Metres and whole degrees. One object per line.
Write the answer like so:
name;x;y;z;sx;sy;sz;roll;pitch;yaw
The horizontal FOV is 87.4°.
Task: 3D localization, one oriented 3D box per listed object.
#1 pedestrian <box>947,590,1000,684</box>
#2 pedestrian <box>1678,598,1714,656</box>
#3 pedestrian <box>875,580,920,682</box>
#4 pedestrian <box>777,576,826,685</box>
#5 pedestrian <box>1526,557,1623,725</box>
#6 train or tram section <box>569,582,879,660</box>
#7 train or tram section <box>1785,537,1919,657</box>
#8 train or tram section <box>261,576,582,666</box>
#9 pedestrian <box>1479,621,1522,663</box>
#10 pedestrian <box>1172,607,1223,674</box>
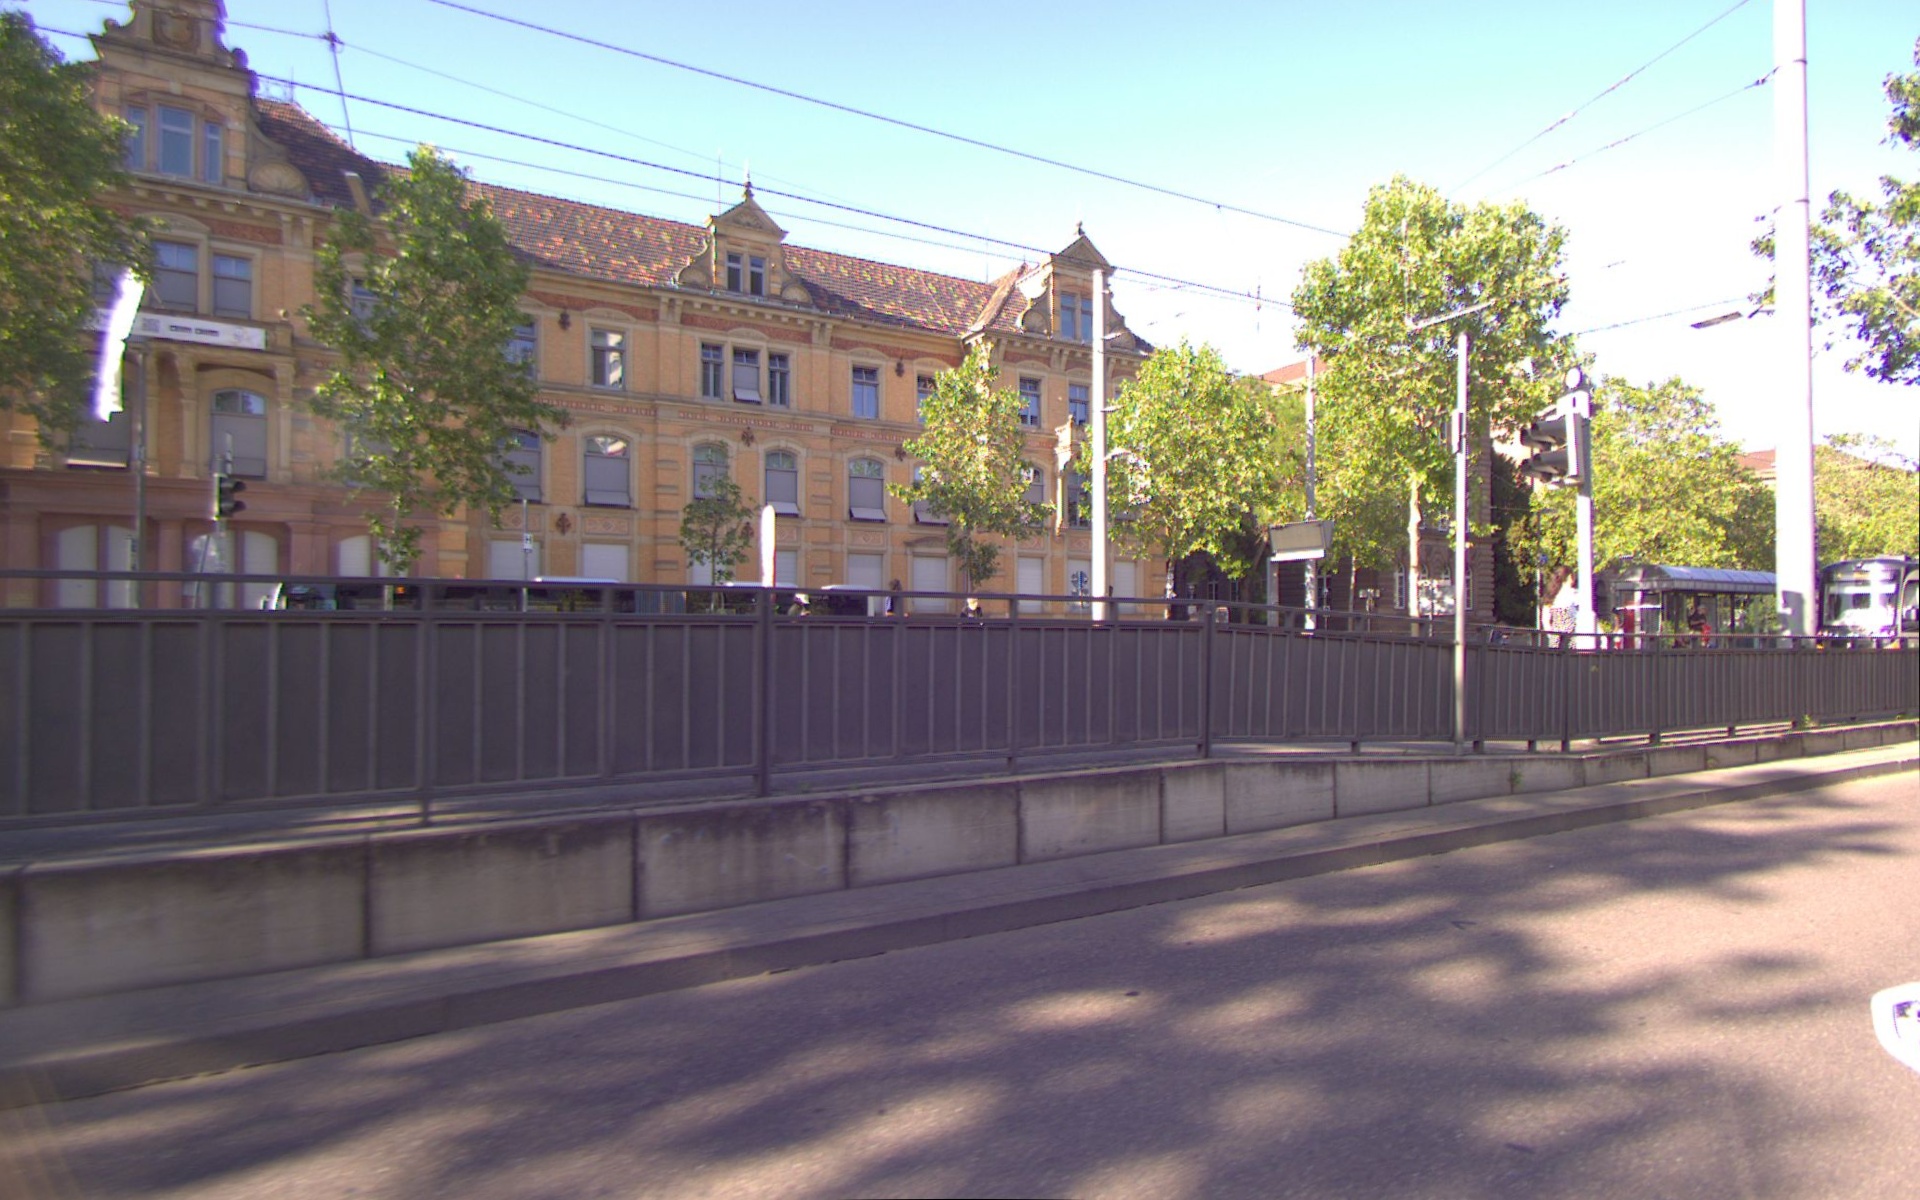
pedestrian;0.263;0.717;19.559;0.804;1.779;0.671;1;-1;-33
pedestrian;24.165;0.906;32.999;0.641;1.879;0.706;0;-2;-31
pedestrian;-1.143;0.575;18.387;0.612;1.825;0.626;-2;-3;19
pedestrian;-2.742;0.535;17.318;0.617;1.825;0.620;1;-3;-34
pedestrian;6.624;0.431;10.838;0.617;1.732;0.678;0;-1;-30
train or tram section;-7.791;0.708;34.056;9.937;2.359;2.632;1;-1;-30
train or tram section;34.531;-0.008;34.979;18.058;3.480;2.857;1;0;-30
train or tram section;-15.551;0.620;29.565;7.981;2.359;2.632;1;-1;-30
pedestrian;15.345;1.182;28.526;0.876;1.182;0.723;0;-1;-30
pedestrian;5.426;0.928;22.960;0.870;1.480;0.721;1;-3;-34
